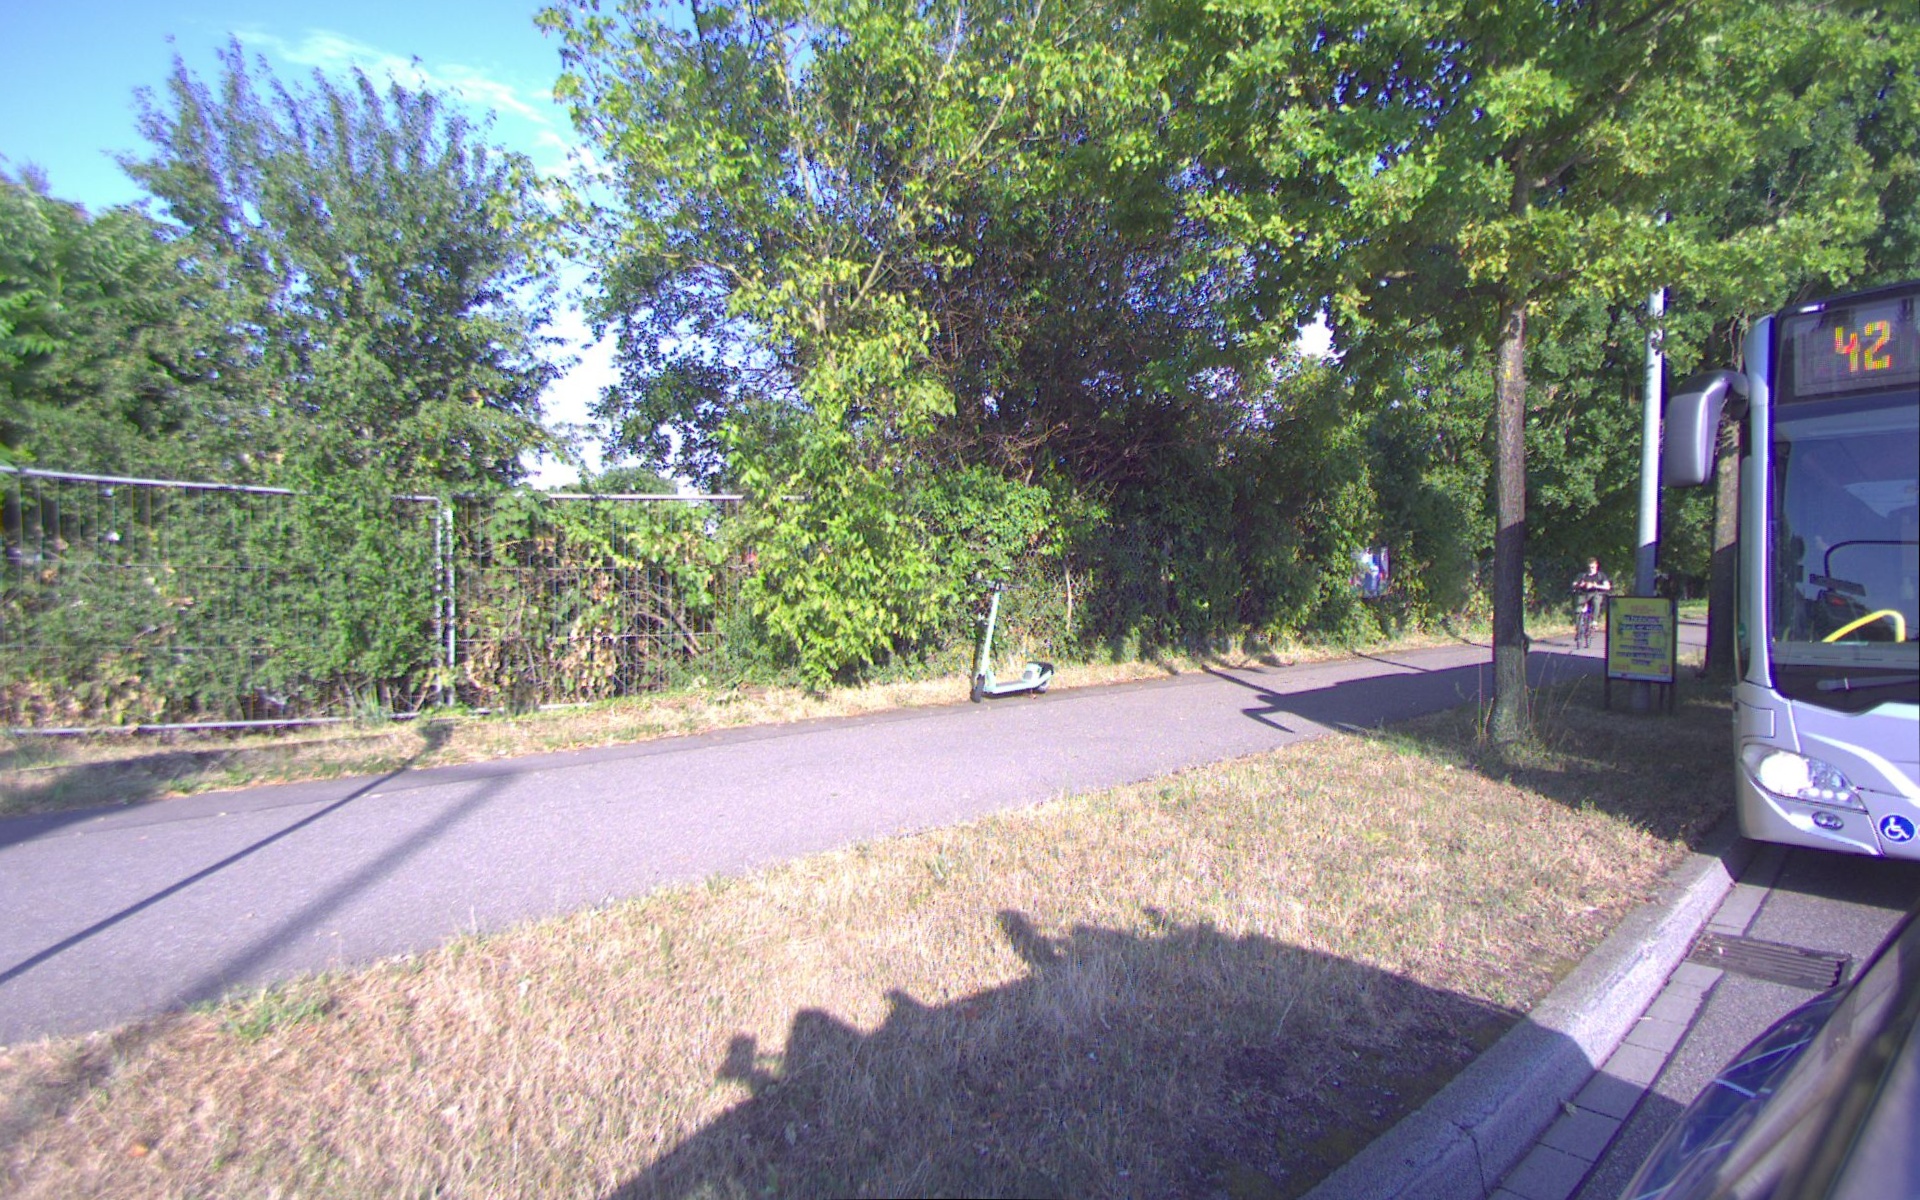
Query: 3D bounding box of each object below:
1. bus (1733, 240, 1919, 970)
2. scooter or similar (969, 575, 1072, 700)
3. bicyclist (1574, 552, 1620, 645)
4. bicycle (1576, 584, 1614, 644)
[{"bbox_3d":[8.509,-0.003,7.972,2.588,3.081,11.534,1,1,44],"label":"bus"},{"bbox_3d":[0.601,0.345,9.817,1.076,1.139,0.249,0,4,-41],"label":"scooter or similar"},{"bbox_3d":[13.282,-0.051,21.092,0.617,1.851,0.820,7,5,35],"label":"bicyclist"},{"bbox_3d":[13.210,0.272,21.029,0.414,1.172,1.865,5,3,38],"label":"bicycle"}]
